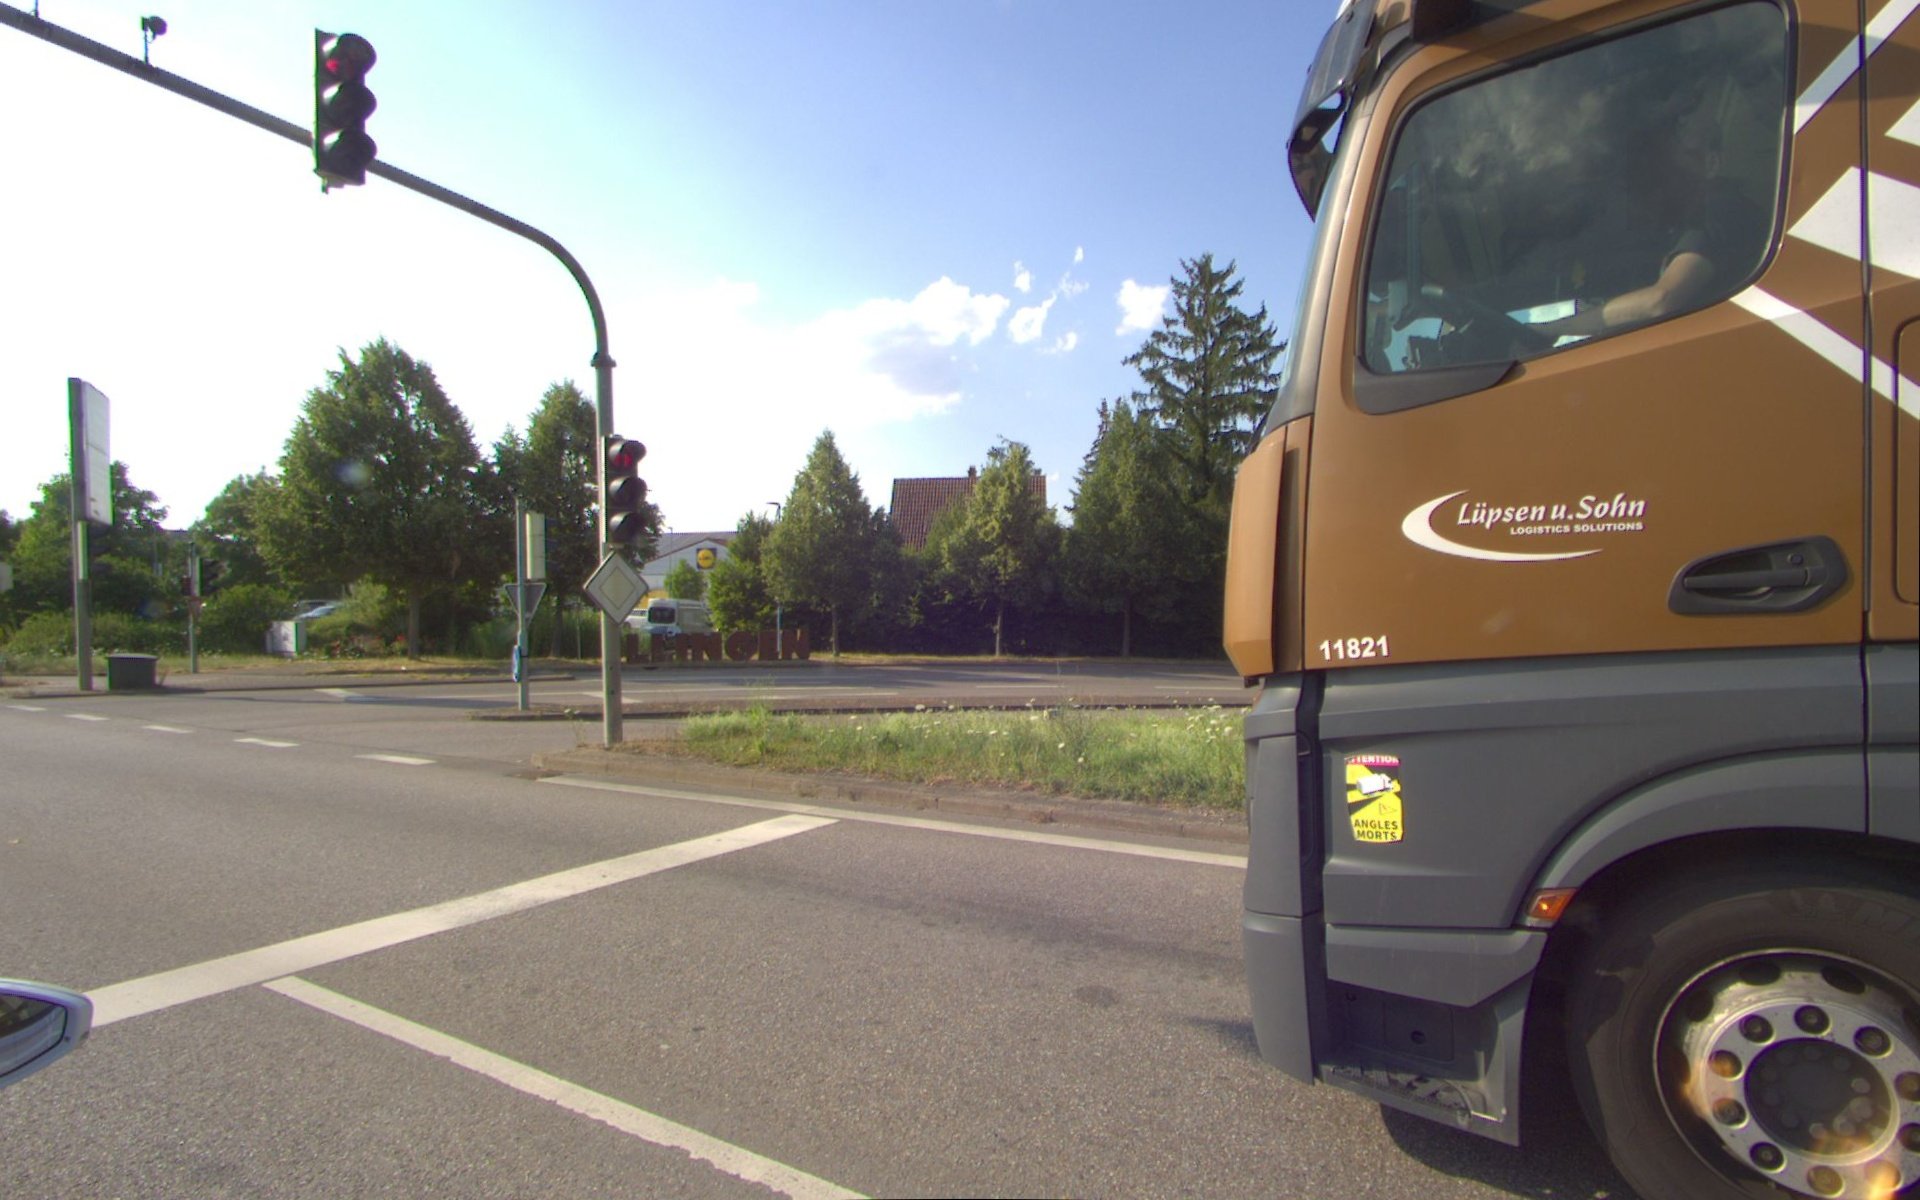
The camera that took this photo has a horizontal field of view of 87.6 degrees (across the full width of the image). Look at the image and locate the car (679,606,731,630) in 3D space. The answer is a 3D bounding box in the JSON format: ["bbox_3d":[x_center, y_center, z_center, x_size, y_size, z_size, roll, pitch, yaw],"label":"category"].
[{"bbox_3d":[-17.445,1.251,68.610,3.190,1.570,1.566,0,-2,-2],"label":"car"}]

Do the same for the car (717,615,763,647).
[{"bbox_3d":[-14.109,2.012,64.416,1.425,1.978,4.000,0,-2,11],"label":"car"}]

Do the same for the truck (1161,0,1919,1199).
[{"bbox_3d":[3.996,-0.582,2.101,6.569,4.095,2.527,-1,-2,33],"label":"truck"}]

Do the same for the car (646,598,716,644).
[{"bbox_3d":[-15.821,1.238,57.140,1.961,2.538,5.140,0,-2,8],"label":"car"}]

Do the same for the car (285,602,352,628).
[{"bbox_3d":[-55.111,1.335,86.104,1.962,2.039,4.932,0,-2,11],"label":"car"}]

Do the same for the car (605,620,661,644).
[{"bbox_3d":[-20.820,2.040,63.836,3.071,1.528,1.579,-1,-2,16],"label":"car"}]
